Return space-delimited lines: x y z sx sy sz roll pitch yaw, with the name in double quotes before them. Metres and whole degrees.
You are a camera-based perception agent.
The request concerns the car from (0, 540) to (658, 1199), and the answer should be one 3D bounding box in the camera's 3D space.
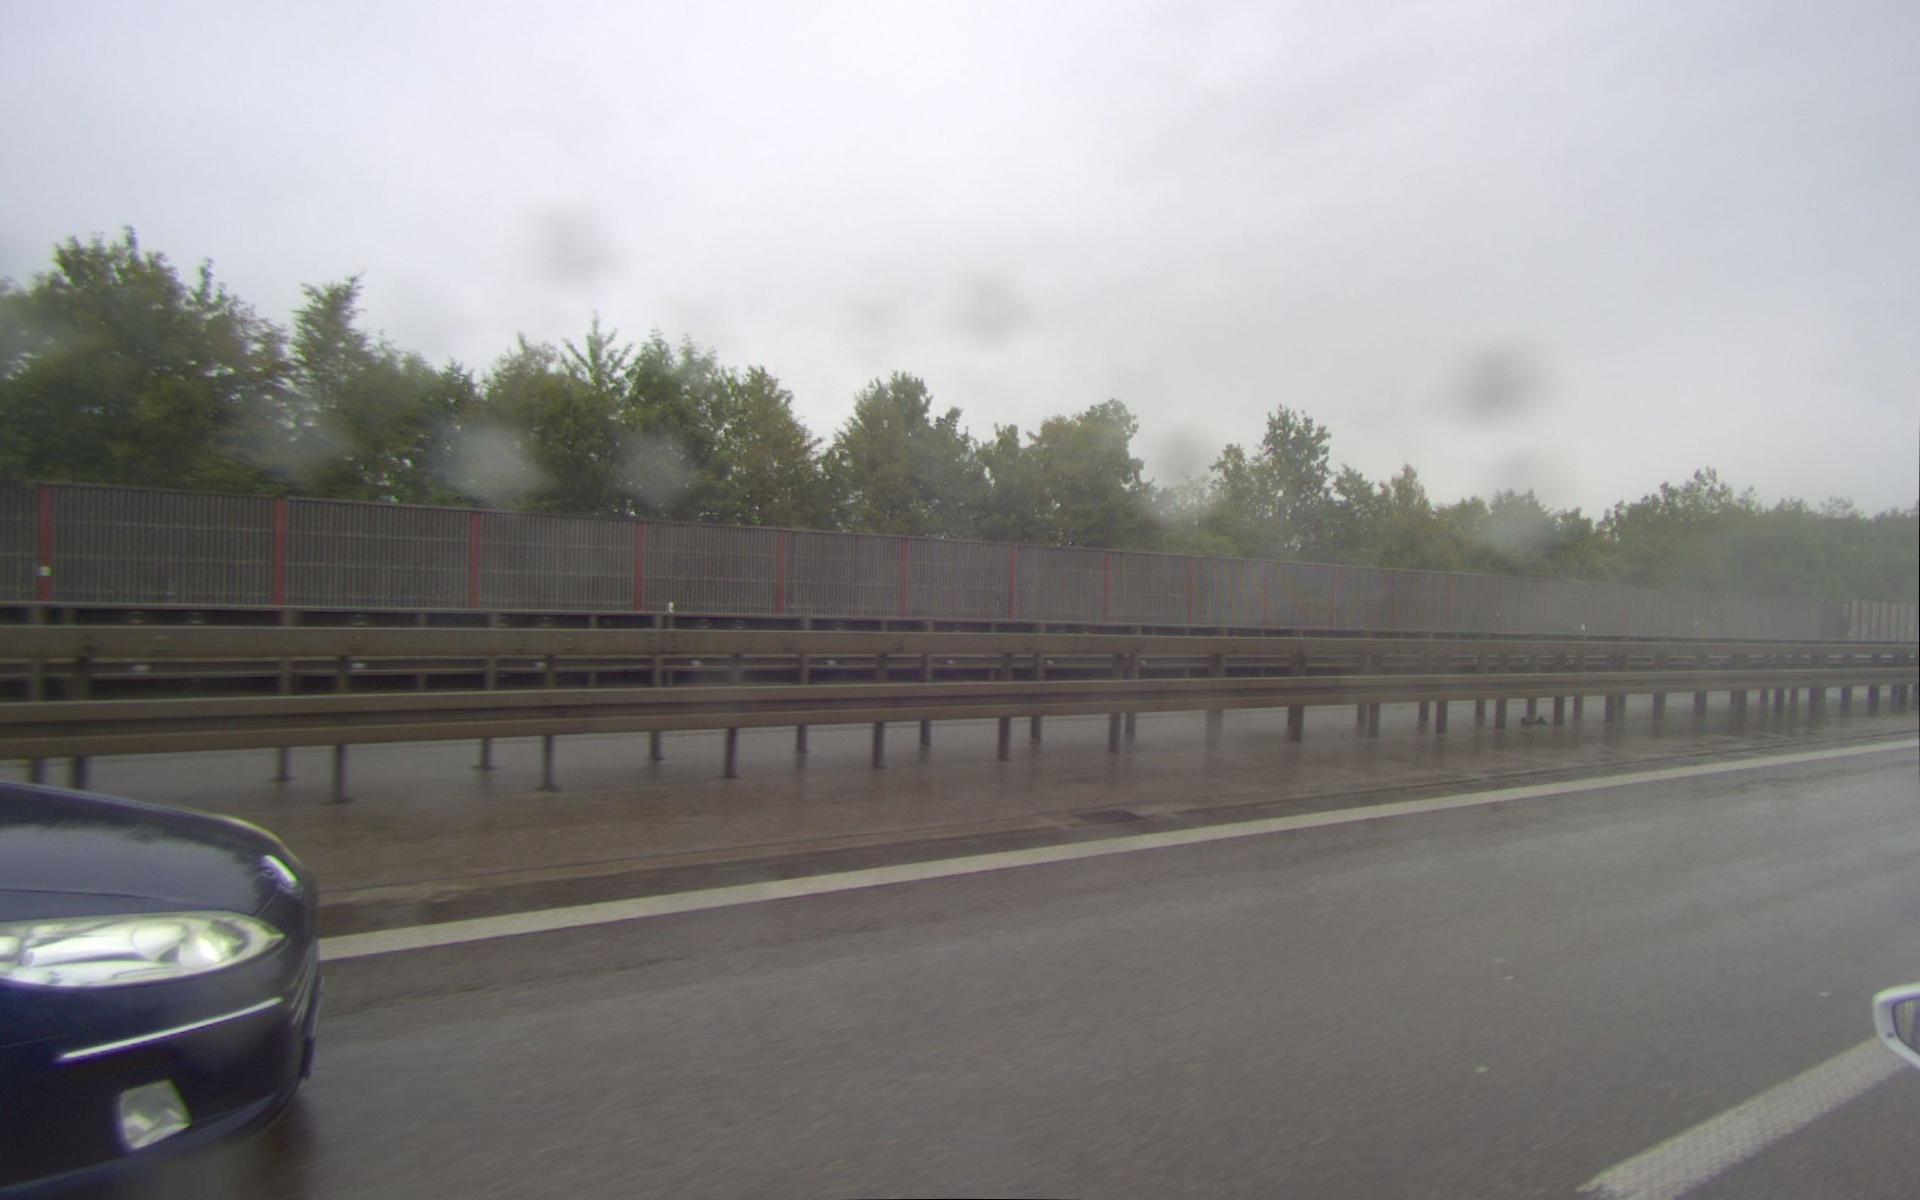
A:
"car" -3.416 0.611 1.937 5.098 1.505 2.044 1 0 -31
